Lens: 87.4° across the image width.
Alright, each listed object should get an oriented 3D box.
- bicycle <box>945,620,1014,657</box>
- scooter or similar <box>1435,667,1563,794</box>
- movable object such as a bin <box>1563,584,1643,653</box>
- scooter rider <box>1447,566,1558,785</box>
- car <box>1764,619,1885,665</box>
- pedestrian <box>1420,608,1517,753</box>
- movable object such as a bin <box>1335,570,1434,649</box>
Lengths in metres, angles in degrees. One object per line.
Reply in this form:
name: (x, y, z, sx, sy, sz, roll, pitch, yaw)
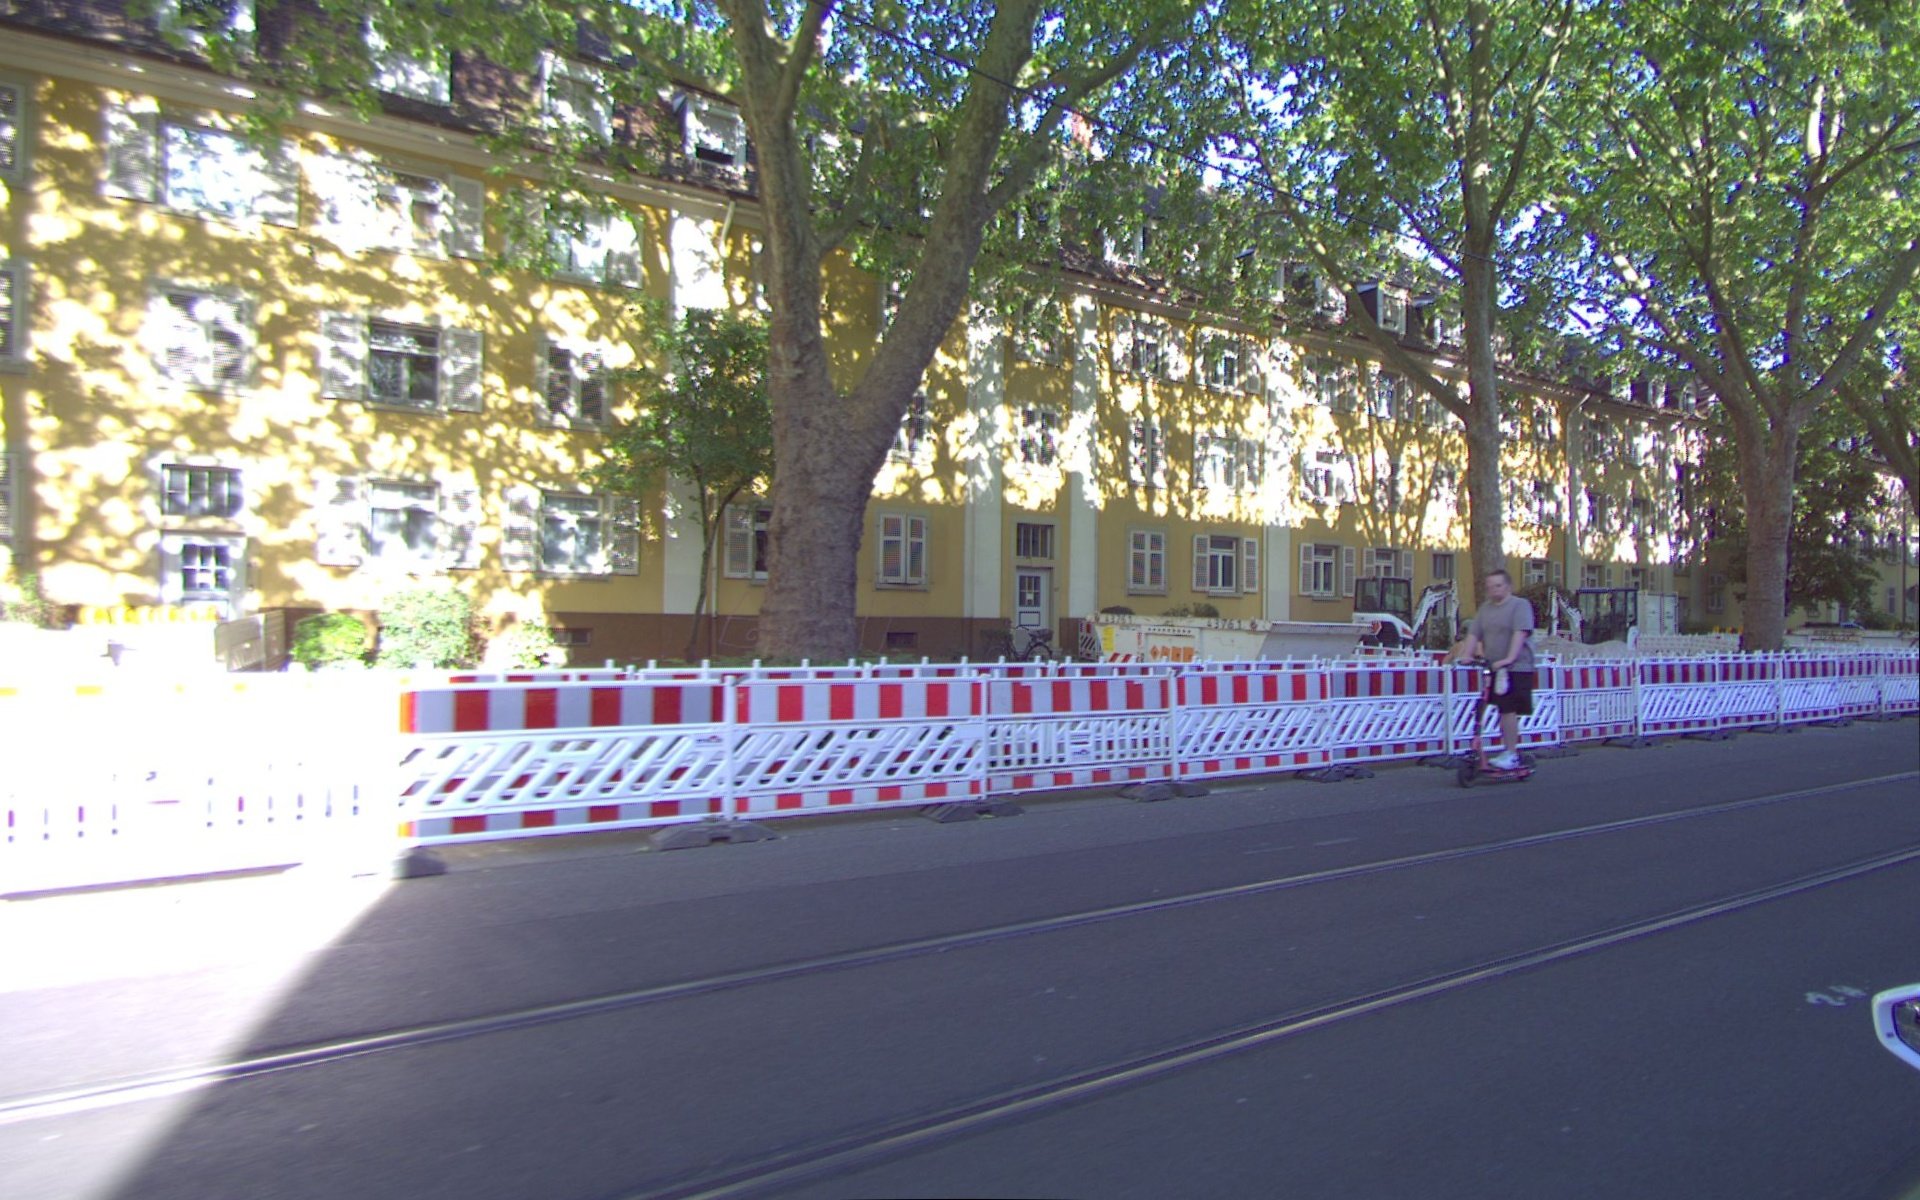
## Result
bicycle: (0.464, 0.893, 23.493, 1.627, 0.829, 0.503, 1, 0, -34)
scooter or similar: (5.086, 1.194, 9.460, 1.322, 1.097, 0.406, 2, 0, -30)
movable object such as a bin: (16.202, 0.469, 25.309, 1.541, 1.667, 1.092, 2, 0, -30)
scooter rider: (5.125, 0.687, 9.504, 0.616, 1.983, 0.646, 2, 0, -29)
car: (32.571, 1.570, 37.842, 4.460, 1.592, 1.784, 2, 1, -26)
pedestrian: (6.227, 0.963, 12.313, 0.769, 1.691, 0.713, 2, 0, -30)
movable object such as a bin: (10.654, 0.240, 25.228, 1.984, 1.893, 1.327, 2, 0, -30)
